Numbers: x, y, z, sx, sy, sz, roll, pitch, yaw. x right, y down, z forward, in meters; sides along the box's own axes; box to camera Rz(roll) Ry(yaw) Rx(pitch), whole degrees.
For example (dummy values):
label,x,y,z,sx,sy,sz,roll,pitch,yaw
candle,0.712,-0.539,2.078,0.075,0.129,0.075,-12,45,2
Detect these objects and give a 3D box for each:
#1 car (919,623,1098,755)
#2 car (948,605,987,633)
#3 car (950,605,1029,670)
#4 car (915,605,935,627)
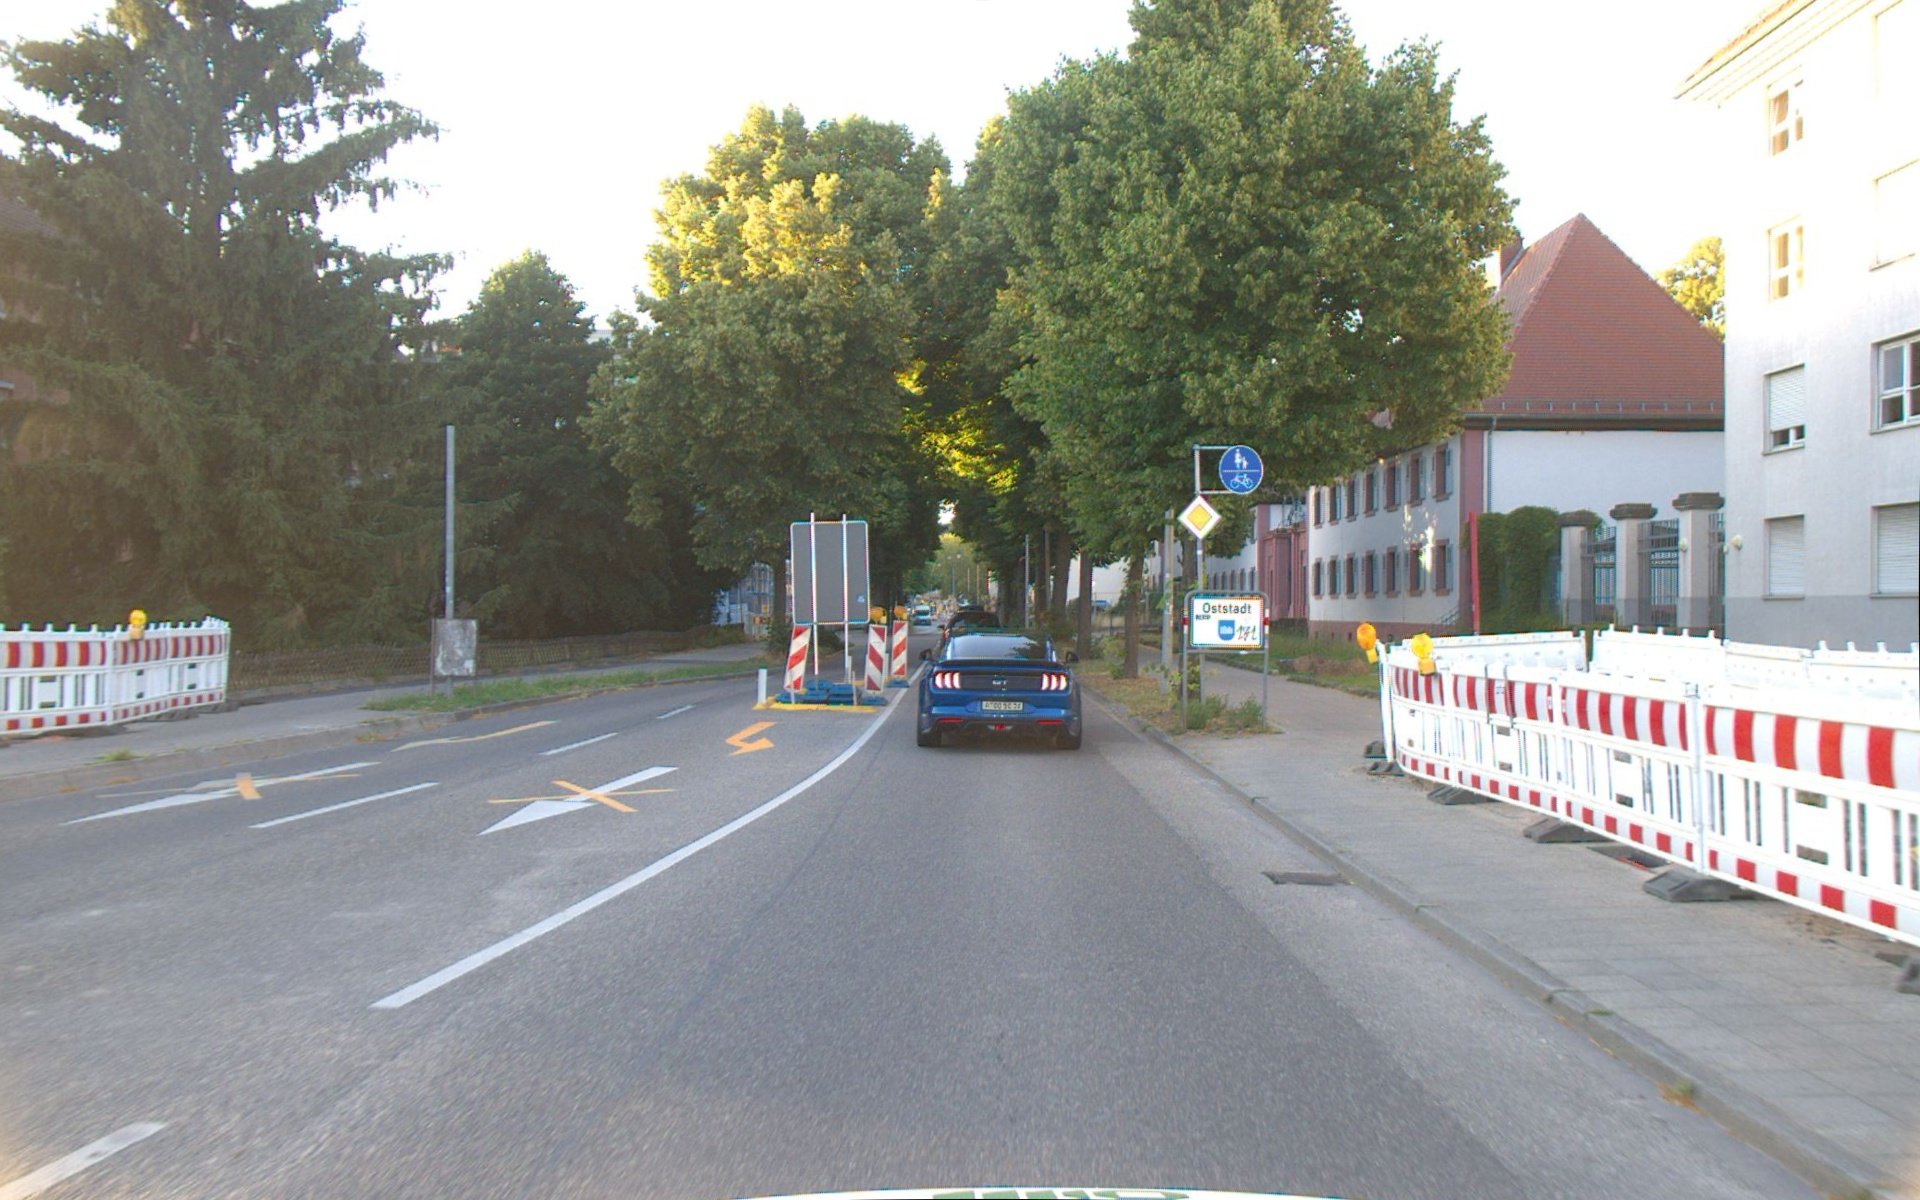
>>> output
label,x,y,z,sx,sy,sz,roll,pitch,yaw
car,0.528,0.996,19.970,1.907,1.350,4.000,2,0,0
car,0.398,0.999,87.278,1.906,1.350,4.001,2,0,2
car,0.803,0.934,42.957,1.906,1.554,4.001,2,0,2
car,-4.477,2.080,209.847,2.441,2.744,5.829,0,-1,-1
